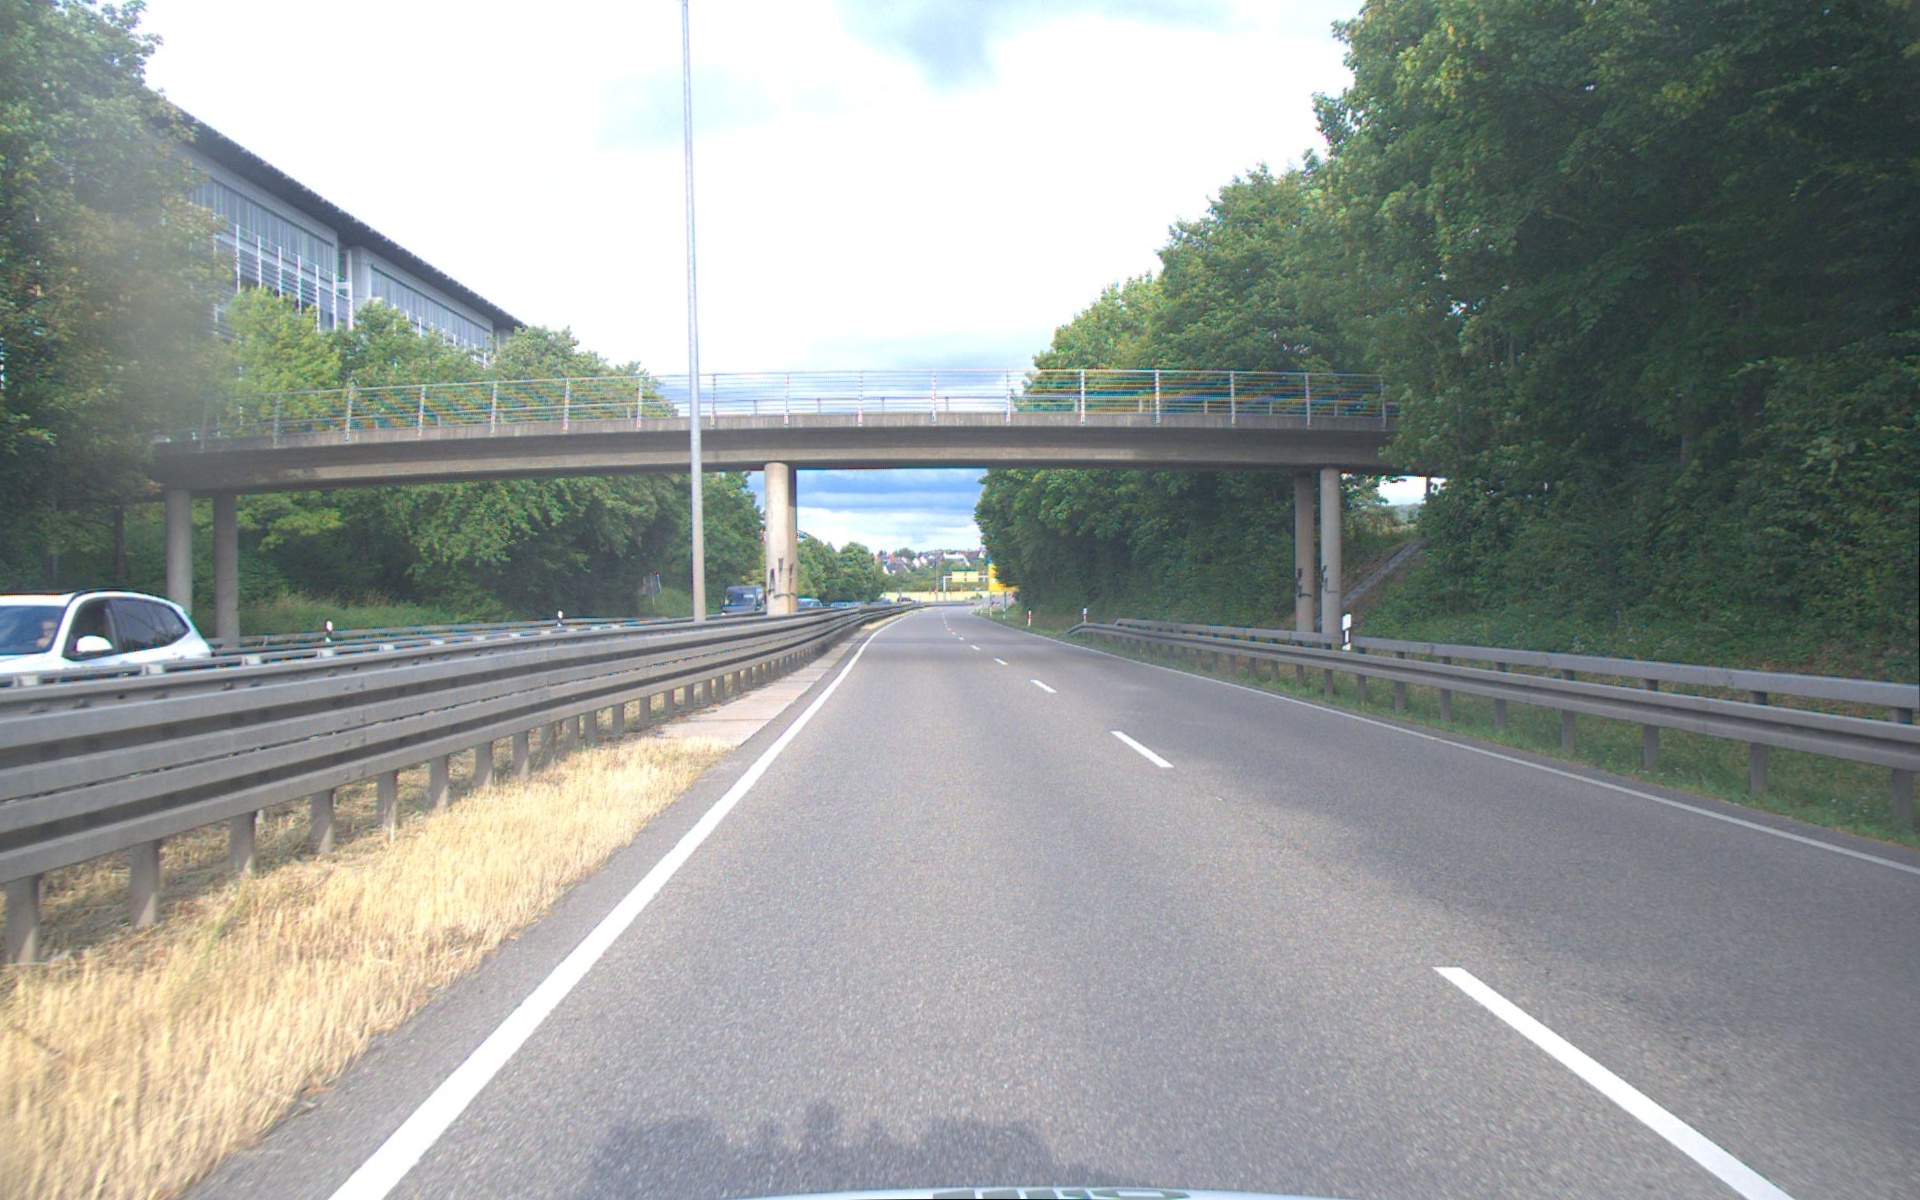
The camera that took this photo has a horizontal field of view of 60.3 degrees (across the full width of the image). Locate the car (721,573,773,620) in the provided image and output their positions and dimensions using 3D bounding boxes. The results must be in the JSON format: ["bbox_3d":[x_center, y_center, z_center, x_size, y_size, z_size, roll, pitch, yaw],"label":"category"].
[{"bbox_3d":[-12.166,-0.187,94.836,2.204,2.581,6.939,0,0,-1],"label":"car"}]

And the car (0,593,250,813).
[{"bbox_3d":[-7.956,0.760,14.100,1.786,1.612,4.789,-1,0,-1],"label":"car"}]
